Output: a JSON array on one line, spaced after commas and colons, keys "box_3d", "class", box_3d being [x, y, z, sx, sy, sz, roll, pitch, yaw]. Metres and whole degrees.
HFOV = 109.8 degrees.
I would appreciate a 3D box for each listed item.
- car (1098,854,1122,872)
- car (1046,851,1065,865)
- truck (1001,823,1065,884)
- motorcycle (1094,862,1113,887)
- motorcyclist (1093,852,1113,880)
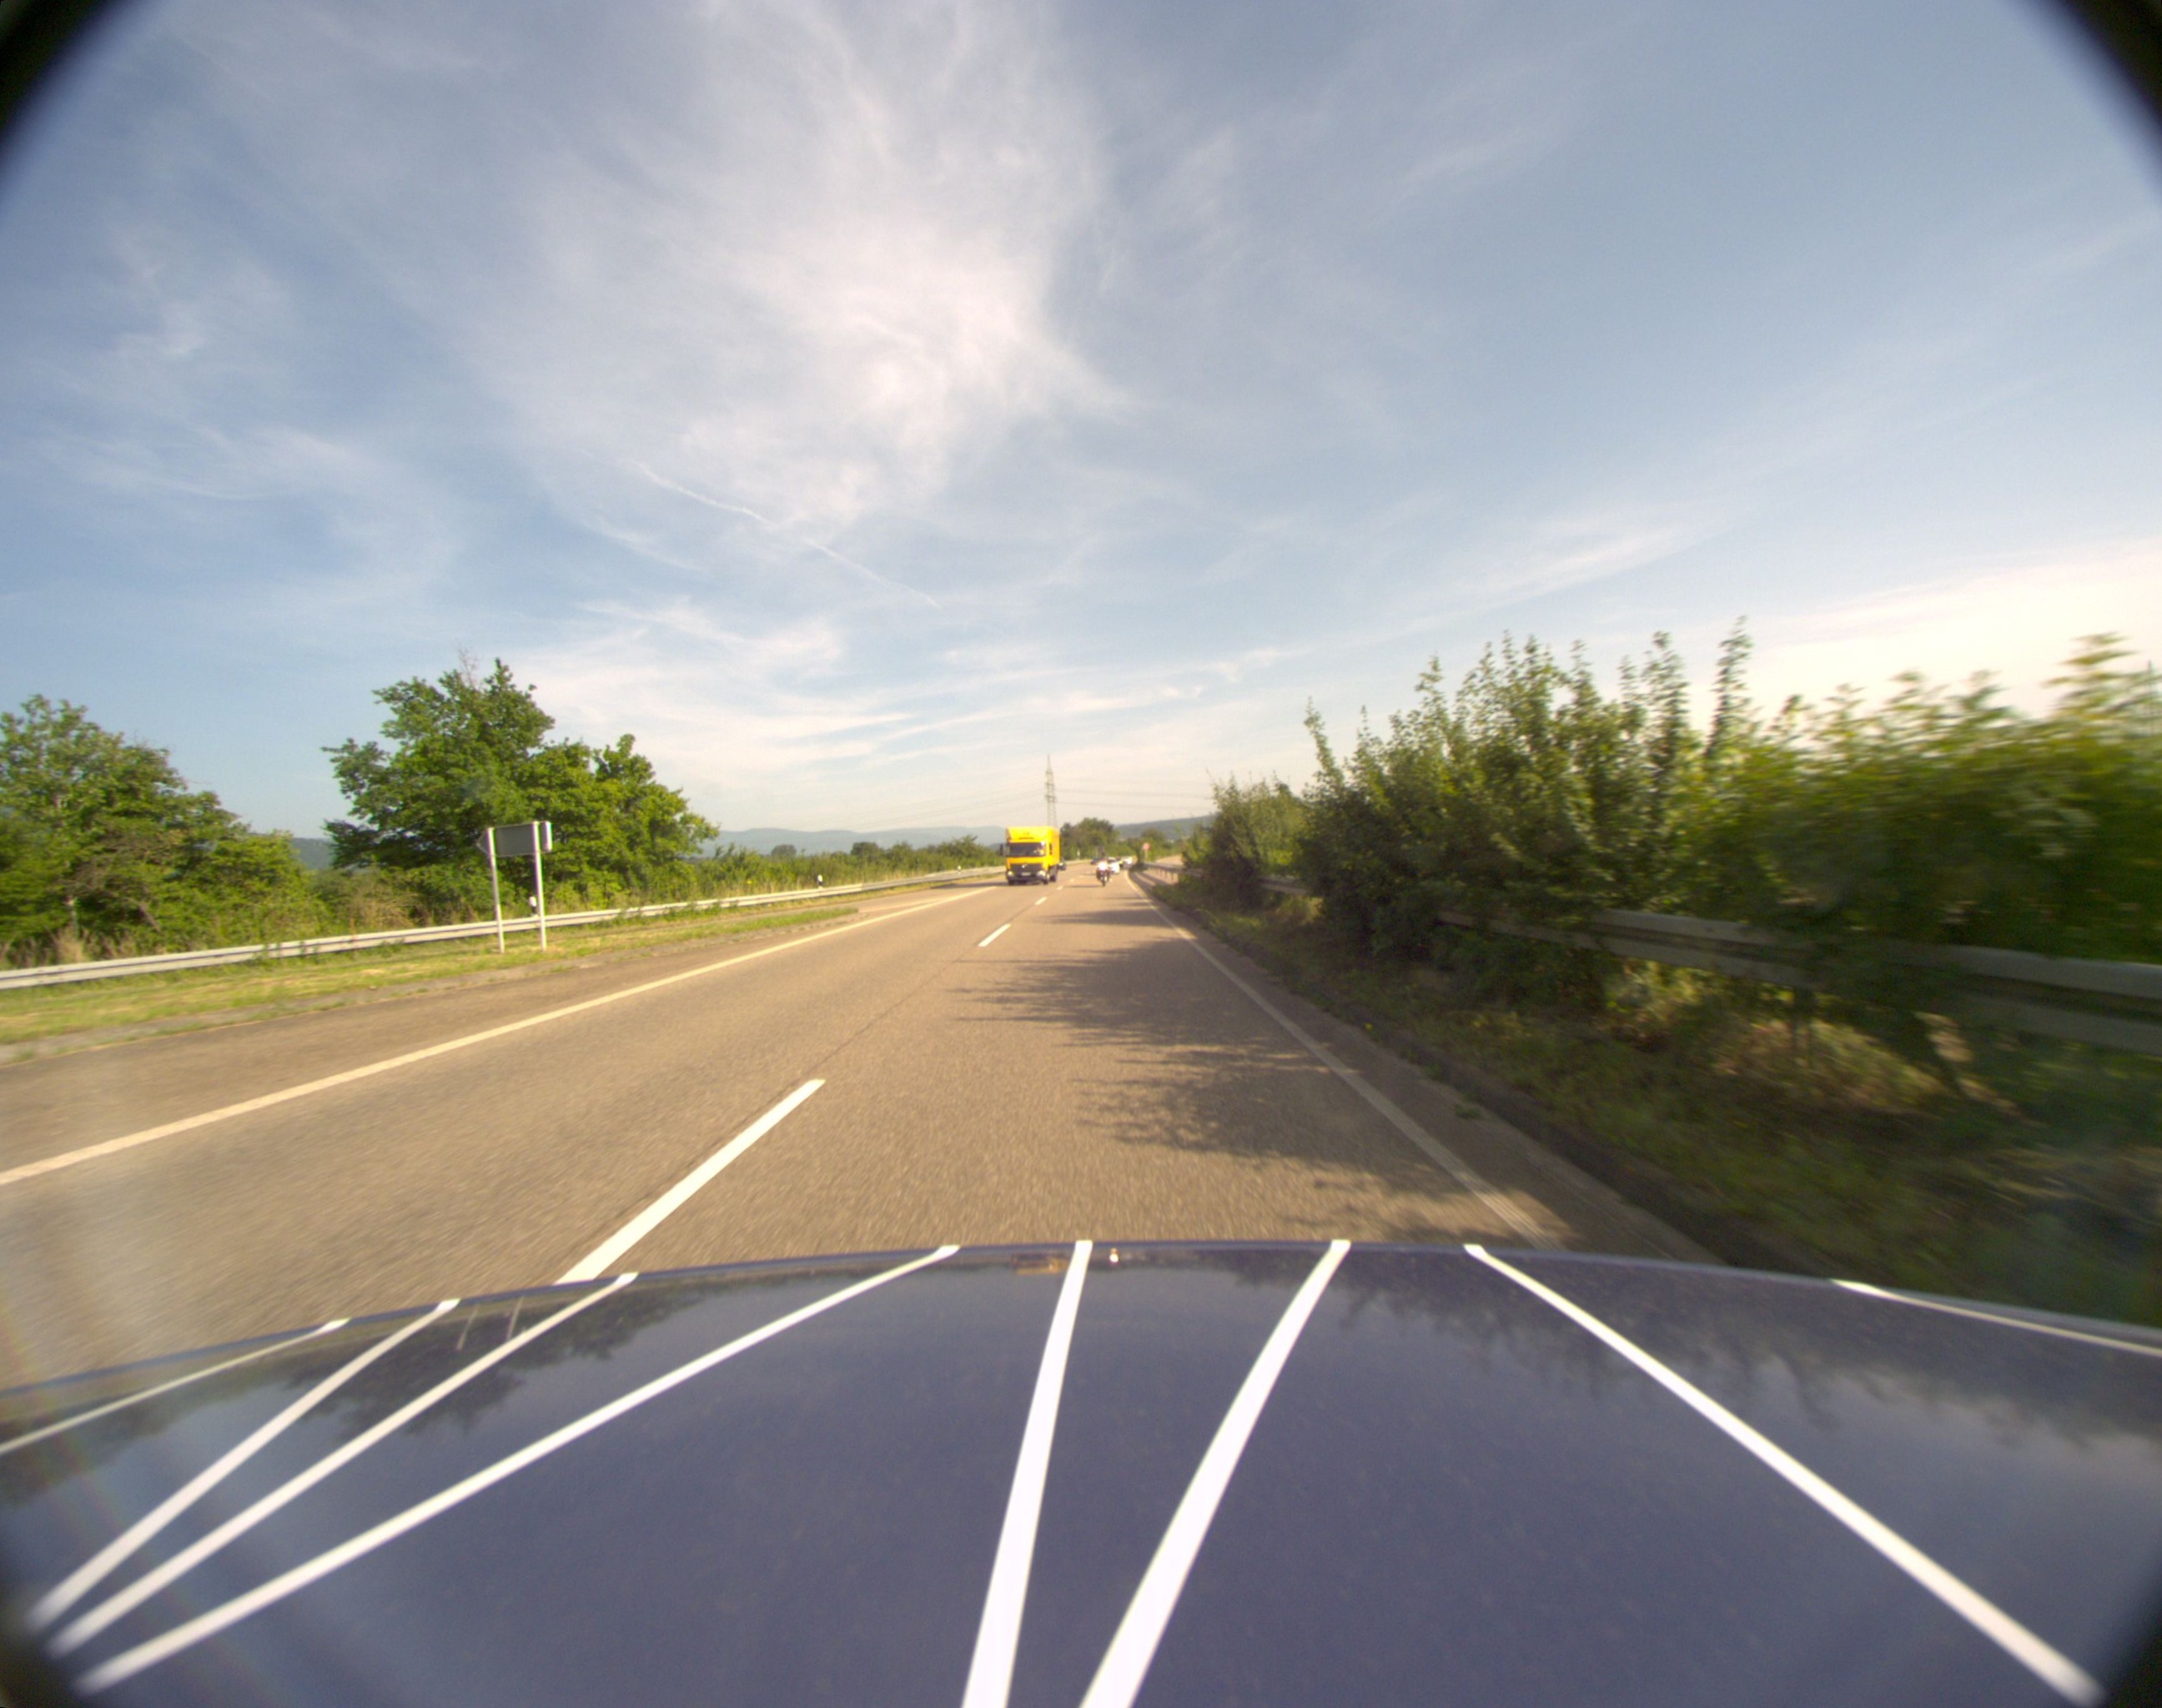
[{"box_3d": [2.608, 0.777, 67.527, 1.868, 1.454, 4.085, -2, 0, 5], "class": "car"}, {"box_3d": [-3.150, 0.484, 95.508, 1.877, 1.630, 4.001, -2, 1, 5], "class": "car"}, {"box_3d": [-2.754, -0.037, 47.192, 2.785, 3.297, 10.490, -2, 0, 2], "class": "truck"}, {"box_3d": [1.160, 1.034, 38.661, 0.937, 1.131, 2.582, -2, 1, 3], "class": "motorcycle"}, {"box_3d": [1.142, 0.599, 38.672, 0.937, 1.344, 1.143, -2, 1, 4], "class": "motorcyclist"}]
